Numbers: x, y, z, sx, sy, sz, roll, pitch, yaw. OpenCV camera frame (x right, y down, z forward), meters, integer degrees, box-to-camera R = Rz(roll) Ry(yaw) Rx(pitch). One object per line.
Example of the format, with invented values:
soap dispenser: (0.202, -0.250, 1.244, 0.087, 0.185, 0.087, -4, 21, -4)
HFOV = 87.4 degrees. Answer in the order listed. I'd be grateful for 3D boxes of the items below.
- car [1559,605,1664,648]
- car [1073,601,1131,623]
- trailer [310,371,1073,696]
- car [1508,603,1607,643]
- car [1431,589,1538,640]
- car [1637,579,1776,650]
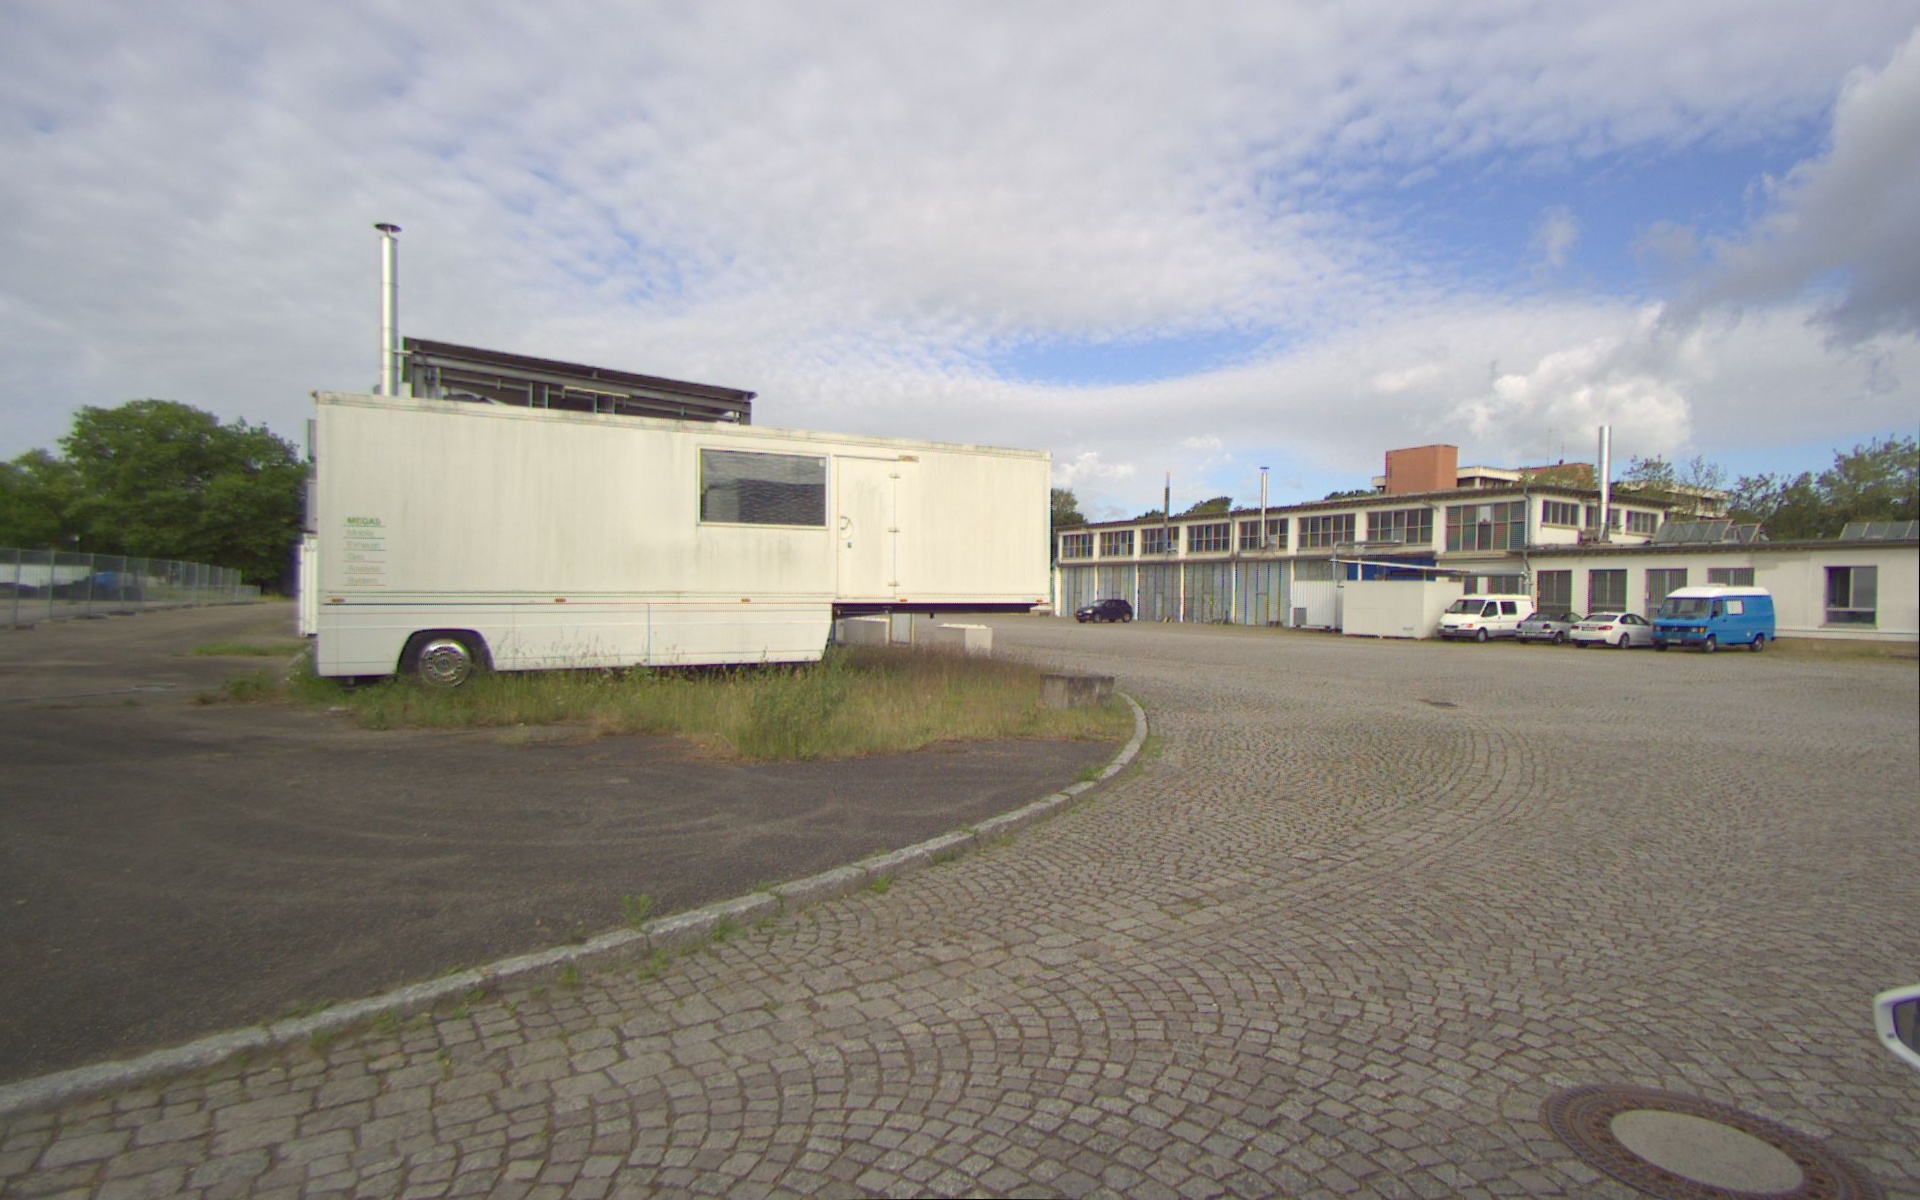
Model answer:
car: (25.993, 1.047, 40.086, 3.951, 1.596, 1.892, 1, 0, -29)
car: (9.710, 0.840, 68.559, 3.680, 1.429, 1.657, 1, 0, -31)
trailer: (-3.428, -0.681, 15.289, 10.587, 3.755, 2.646, 1, 0, -28)
car: (25.530, 0.970, 42.897, 3.951, 1.596, 1.892, 1, 0, -29)
car: (23.658, 0.663, 45.273, 4.722, 2.236, 1.893, 1, 0, -28)
car: (28.399, 0.557, 38.200, 5.545, 2.557, 1.986, 1, 0, -27)
